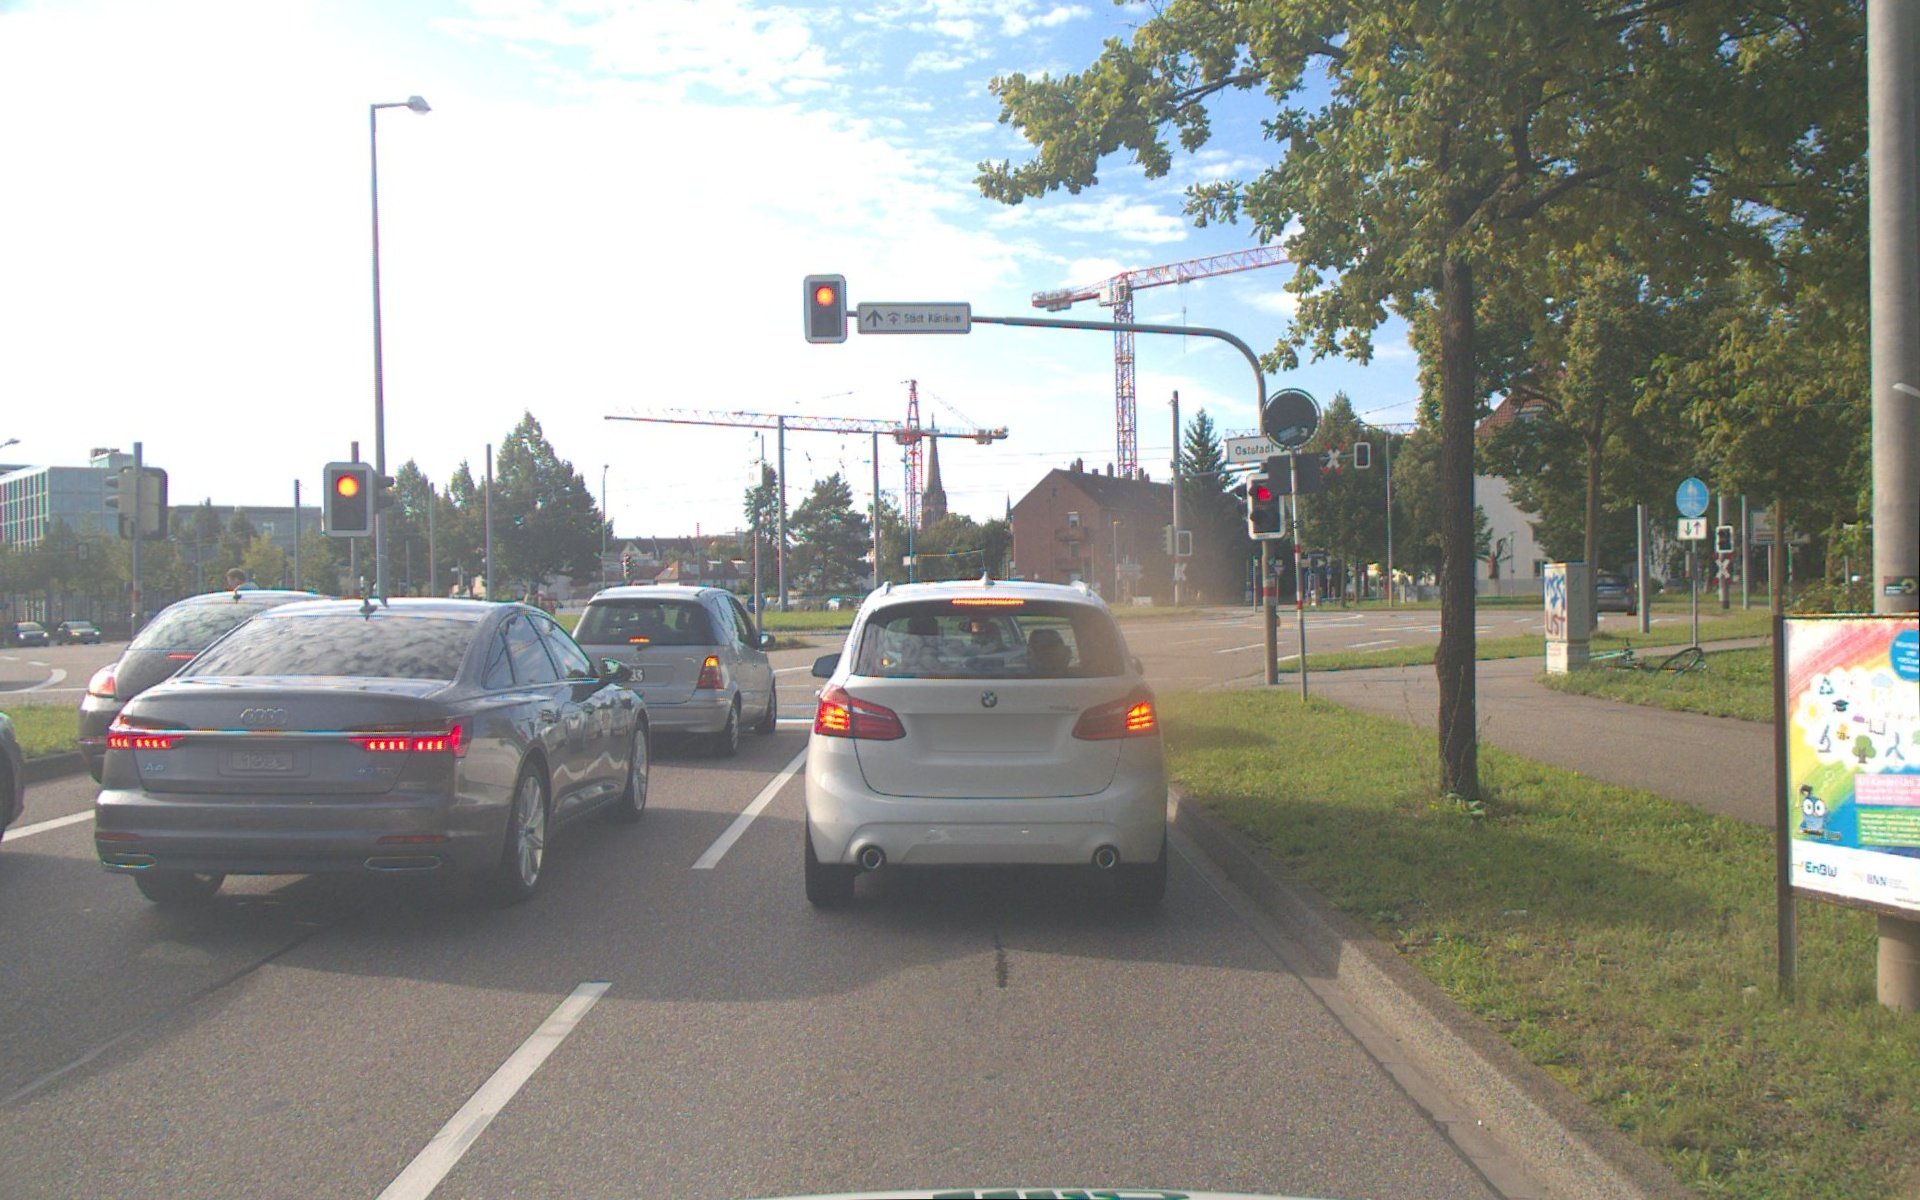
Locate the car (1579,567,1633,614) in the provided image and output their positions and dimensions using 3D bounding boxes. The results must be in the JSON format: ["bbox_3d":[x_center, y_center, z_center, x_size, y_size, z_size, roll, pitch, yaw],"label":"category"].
[{"bbox_3d":[23.983,-0.367,61.326,1.539,1.601,3.195,0,3,27],"label":"car"}]

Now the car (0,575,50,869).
[{"bbox_3d":[-6.010,0.659,7.389,1.694,1.586,4.018,0,0,-1],"label":"car"}]

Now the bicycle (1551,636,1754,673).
[{"bbox_3d":[9.479,0.732,22.808,1.382,0.392,2.569,-2,0,-12],"label":"bicycle"}]

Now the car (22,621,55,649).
[{"bbox_3d":[-54.625,2.062,98.090,1.574,1.439,3.636,-3,2,-28],"label":"car"}]

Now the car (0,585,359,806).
[{"bbox_3d":[-6.385,0.667,13.487,1.646,1.549,3.809,0,0,-1],"label":"car"}]

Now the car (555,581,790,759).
[{"bbox_3d":[-2.770,0.615,16.748,1.694,1.585,4.057,0,0,-1],"label":"car"}]

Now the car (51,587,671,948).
[{"bbox_3d":[-2.910,0.709,9.246,1.851,1.509,4.612,0,0,-1],"label":"car"}]

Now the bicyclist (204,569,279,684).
[{"bbox_3d":[-9.988,0.361,23.012,0.835,1.553,0.737,-1,0,-17],"label":"bicyclist"}]

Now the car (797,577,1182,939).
[{"bbox_3d":[0.098,0.686,9.301,1.694,1.585,4.057,0,0,-1],"label":"car"}]

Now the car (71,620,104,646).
[{"bbox_3d":[-53.744,2.006,101.947,1.595,1.490,3.701,-1,1,-25],"label":"car"}]
